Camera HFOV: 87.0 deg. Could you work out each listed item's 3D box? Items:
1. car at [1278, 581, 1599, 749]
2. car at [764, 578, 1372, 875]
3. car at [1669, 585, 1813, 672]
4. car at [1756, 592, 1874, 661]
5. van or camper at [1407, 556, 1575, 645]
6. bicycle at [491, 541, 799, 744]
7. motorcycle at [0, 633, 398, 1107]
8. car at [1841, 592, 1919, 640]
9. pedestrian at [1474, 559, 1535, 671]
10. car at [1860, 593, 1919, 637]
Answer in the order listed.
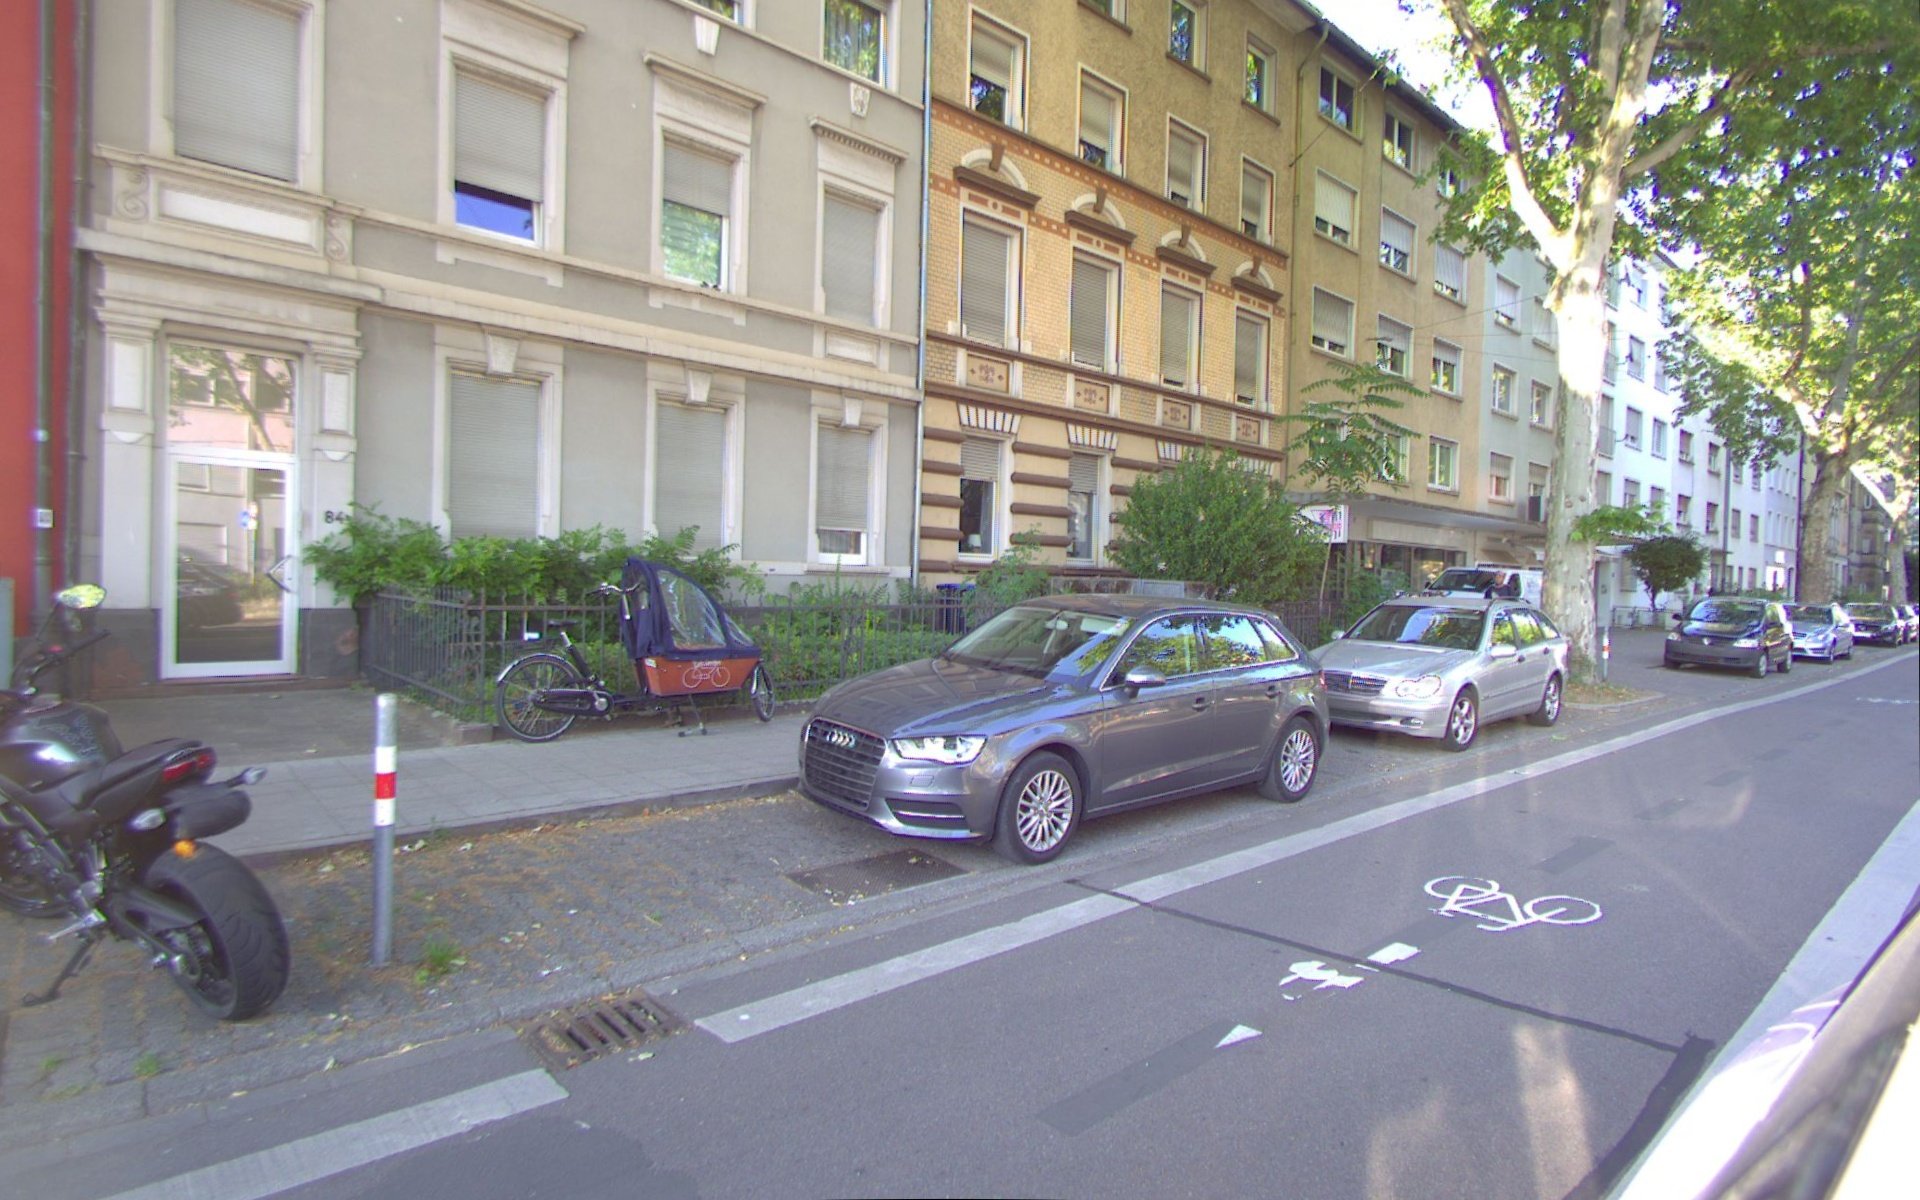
[{"bbox_3d":[5.444,0.562,11.205,4.494,1.469,1.676,0,2,-43],"label":"car"},{"bbox_3d":[0.957,0.605,6.977,4.245,1.414,1.714,0,2,-41],"label":"car"},{"bbox_3d":[16.226,0.524,20.962,3.932,1.564,1.656,0,2,-42],"label":"car"},{"bbox_3d":[21.980,0.626,25.956,4.695,1.561,1.697,0,2,-42],"label":"car"},{"bbox_3d":[13.160,-0.026,24.914,5.299,1.946,1.945,0,2,-42],"label":"van or camper"},{"bbox_3d":[-2.479,0.295,8.231,2.354,1.445,0.608,0,0,-41],"label":"bicycle"},{"bbox_3d":[-3.041,0.757,3.570,2.193,1.076,0.760,4,2,28],"label":"motorcycle"},{"bbox_3d":[31.648,0.506,34.608,4.289,1.432,1.712,0,4,-42],"label":"car"},{"bbox_3d":[10.203,0.261,18.954,0.995,2.038,0.683,0,1,-44],"label":"pedestrian"},{"bbox_3d":[35.174,0.517,37.878,4.289,1.432,1.712,0,4,-42],"label":"car"}]
